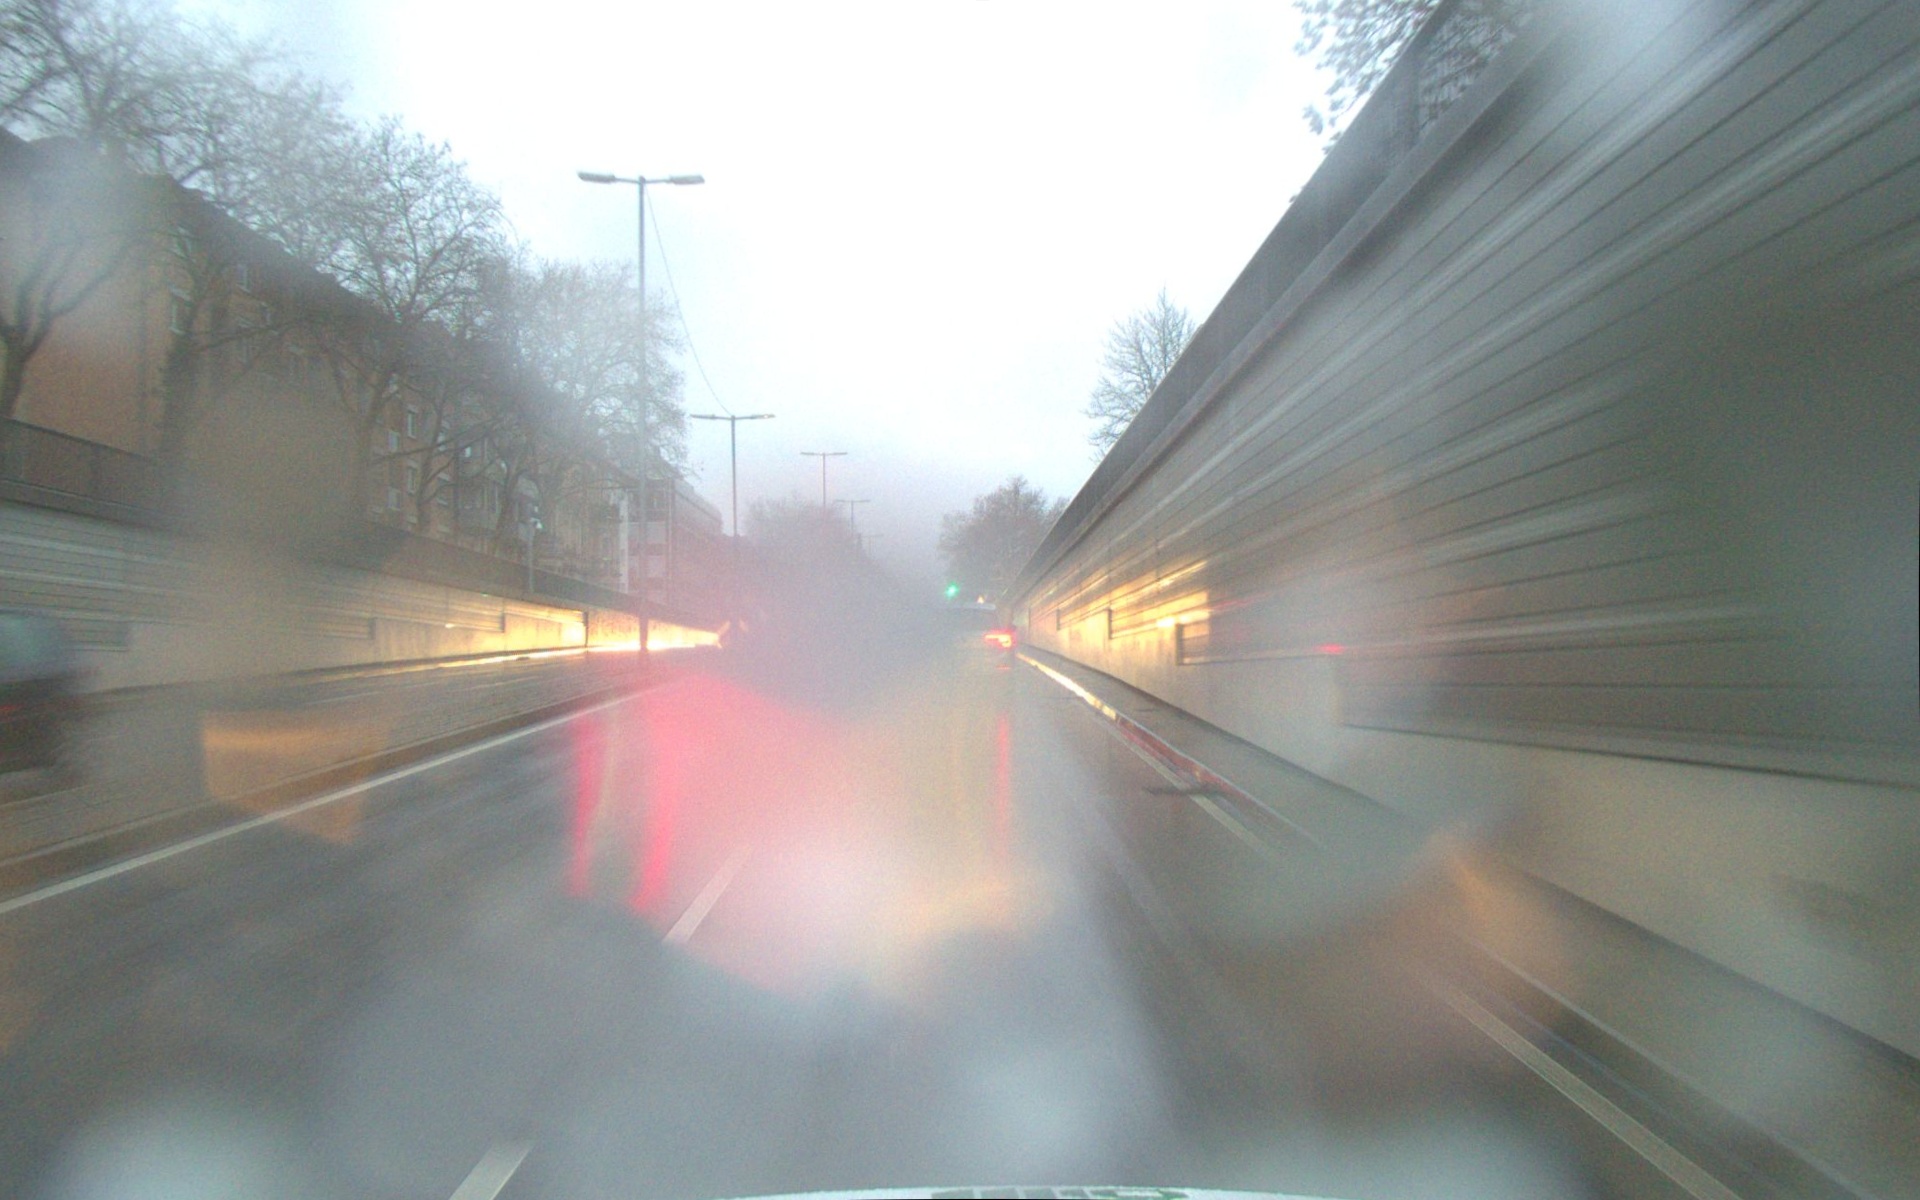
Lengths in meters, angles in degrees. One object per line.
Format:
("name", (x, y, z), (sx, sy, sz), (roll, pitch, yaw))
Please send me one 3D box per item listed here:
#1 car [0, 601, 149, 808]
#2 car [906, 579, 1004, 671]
("car", (-7.775, 0.780, 12.467), (1.540, 1.496, 3.686), (-1, 0, -1))
("car", (-0.098, 0.442, 27.152), (1.500, 1.422, 3.432), (0, -2, -1))
